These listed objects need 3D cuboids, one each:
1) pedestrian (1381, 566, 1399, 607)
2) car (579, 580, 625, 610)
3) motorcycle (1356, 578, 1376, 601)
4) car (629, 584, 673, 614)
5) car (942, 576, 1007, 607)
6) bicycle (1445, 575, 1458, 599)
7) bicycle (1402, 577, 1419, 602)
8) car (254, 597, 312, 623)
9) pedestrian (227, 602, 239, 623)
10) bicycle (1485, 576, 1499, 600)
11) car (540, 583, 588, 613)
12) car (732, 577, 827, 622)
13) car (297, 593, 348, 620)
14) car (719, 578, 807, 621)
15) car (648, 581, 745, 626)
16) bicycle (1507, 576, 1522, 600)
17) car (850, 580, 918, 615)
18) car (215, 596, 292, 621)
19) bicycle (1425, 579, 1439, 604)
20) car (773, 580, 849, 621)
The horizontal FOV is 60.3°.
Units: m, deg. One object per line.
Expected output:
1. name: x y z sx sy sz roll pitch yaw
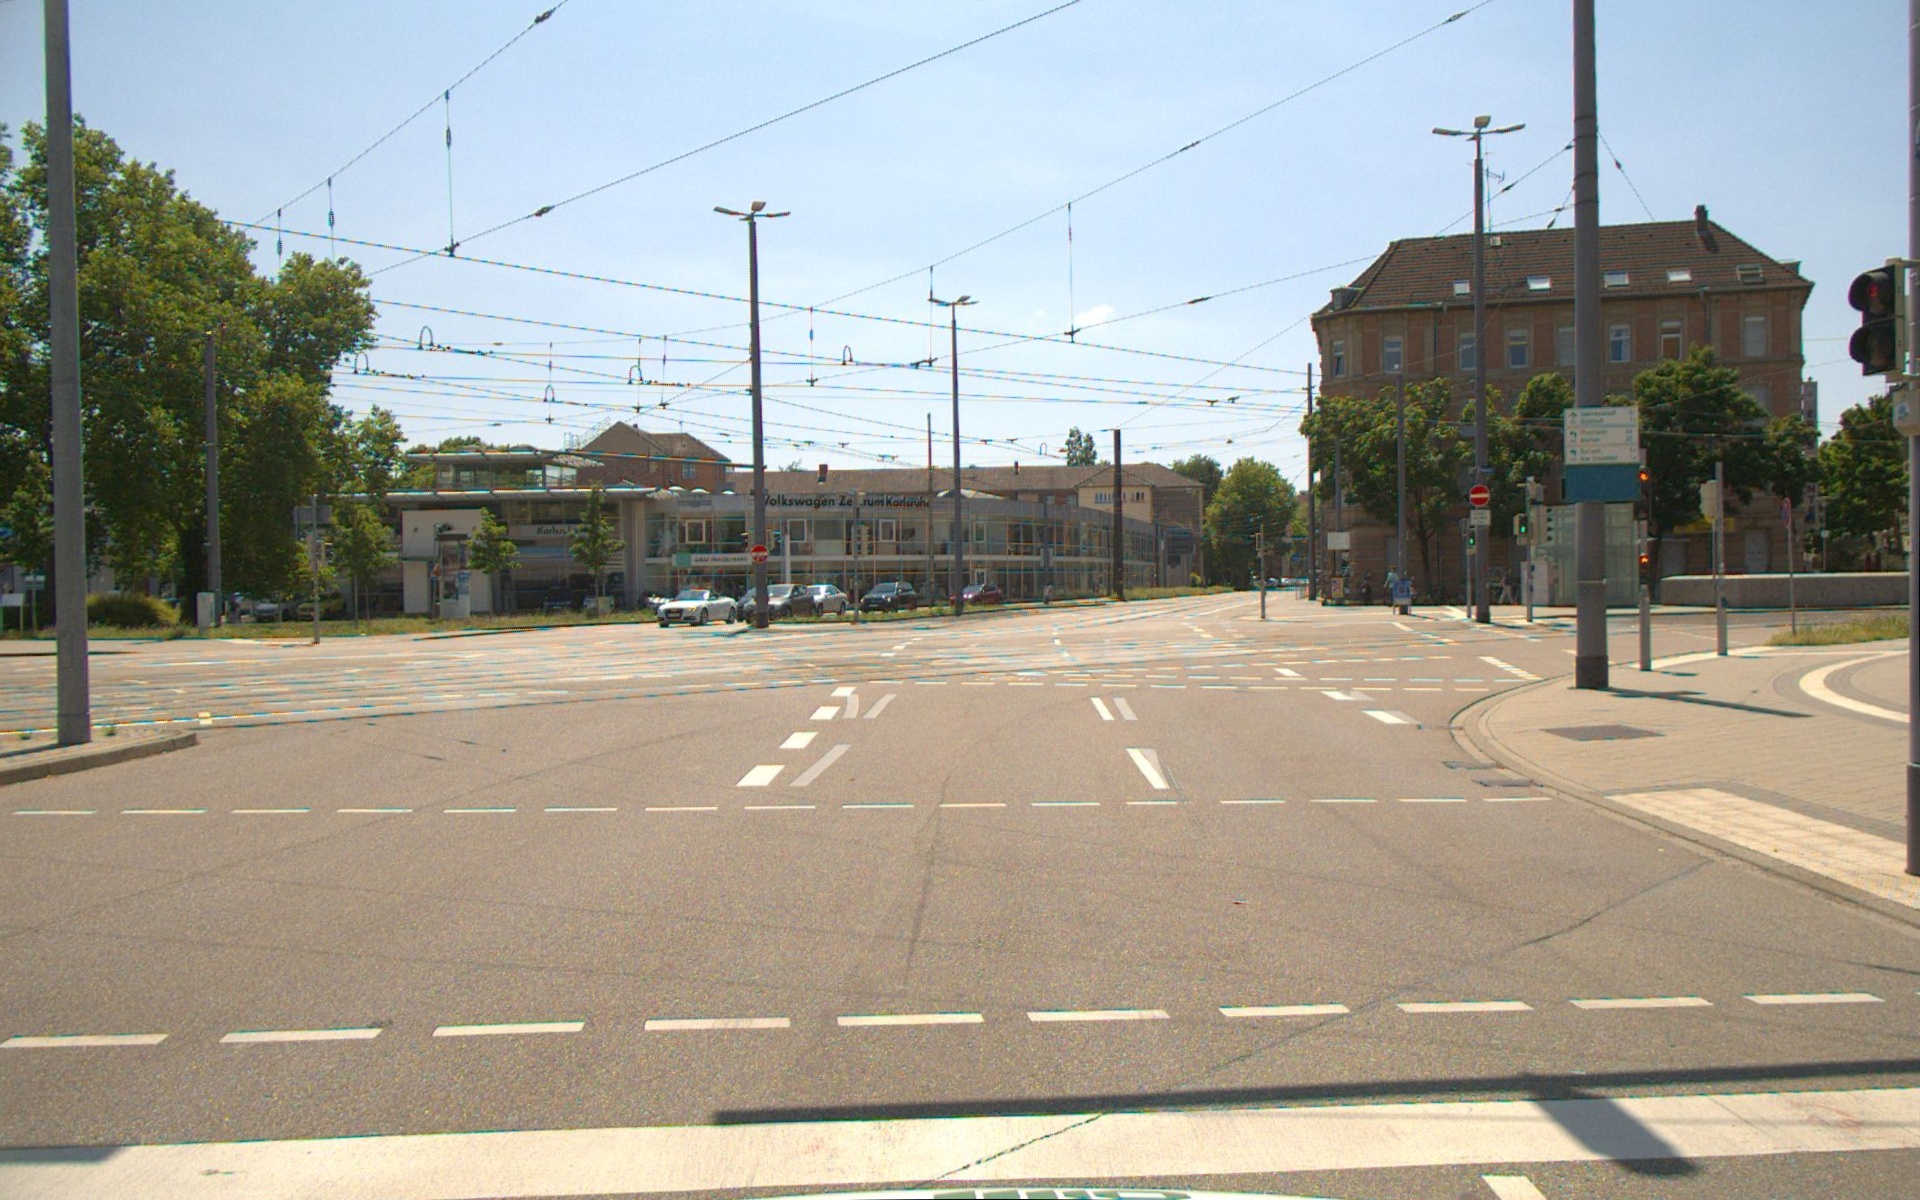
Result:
1. pedestrian: 18.376 -0.563 70.692 0.454 1.738 0.637 -1 0 -18
2. car: -21.593 -0.277 99.764 1.881 1.737 4.000 1 0 0
3. motorcycle: 19.465 -0.521 79.365 0.568 1.093 1.947 -1 0 3
4. car: -18.623 -0.025 99.894 1.881 1.737 4.000 1 0 0
5. car: 0.905 -0.503 99.740 1.960 1.807 3.985 1 -1 35
6. bicycle: 23.455 -0.629 78.907 0.539 1.139 1.822 -1 1 15
7. bicycle: 21.762 -0.519 79.867 0.433 1.166 2.095 1 0 6
8. car: -41.347 0.598 101.077 1.731 1.536 4.327 -1 1 0
9. pedestrian: -42.913 0.723 97.623 0.502 1.225 0.446 -1 0 5
10. bicycle: 25.431 -0.588 79.104 0.539 1.139 1.872 -1 0 15
11. car: -23.838 -0.115 99.703 1.881 1.737 4.000 1 0 0
12. car: -6.978 -0.055 64.443 1.951 1.666 4.850 -1 1 16
13. car: -38.766 0.384 100.656 1.732 1.536 4.322 -1 1 -5
14. car: -8.322 -0.043 70.250 1.951 1.730 4.850 -1 1 16
15. car: -10.158 0.106 64.083 2.032 1.607 4.850 -1 1 13
16. bicycle: 26.508 -0.596 79.107 0.539 1.139 1.931 -1 0 15
17. car: -3.903 -0.158 85.634 2.034 1.712 4.850 -1 1 16
18. car: -45.499 0.522 106.556 4.279 1.536 1.750 -1 1 -36
19. bicycle: 22.623 -0.413 79.242 0.539 1.139 1.821 -1 0 18
20. car: -6.818 -0.006 76.216 1.951 1.770 4.546 -1 1 16
